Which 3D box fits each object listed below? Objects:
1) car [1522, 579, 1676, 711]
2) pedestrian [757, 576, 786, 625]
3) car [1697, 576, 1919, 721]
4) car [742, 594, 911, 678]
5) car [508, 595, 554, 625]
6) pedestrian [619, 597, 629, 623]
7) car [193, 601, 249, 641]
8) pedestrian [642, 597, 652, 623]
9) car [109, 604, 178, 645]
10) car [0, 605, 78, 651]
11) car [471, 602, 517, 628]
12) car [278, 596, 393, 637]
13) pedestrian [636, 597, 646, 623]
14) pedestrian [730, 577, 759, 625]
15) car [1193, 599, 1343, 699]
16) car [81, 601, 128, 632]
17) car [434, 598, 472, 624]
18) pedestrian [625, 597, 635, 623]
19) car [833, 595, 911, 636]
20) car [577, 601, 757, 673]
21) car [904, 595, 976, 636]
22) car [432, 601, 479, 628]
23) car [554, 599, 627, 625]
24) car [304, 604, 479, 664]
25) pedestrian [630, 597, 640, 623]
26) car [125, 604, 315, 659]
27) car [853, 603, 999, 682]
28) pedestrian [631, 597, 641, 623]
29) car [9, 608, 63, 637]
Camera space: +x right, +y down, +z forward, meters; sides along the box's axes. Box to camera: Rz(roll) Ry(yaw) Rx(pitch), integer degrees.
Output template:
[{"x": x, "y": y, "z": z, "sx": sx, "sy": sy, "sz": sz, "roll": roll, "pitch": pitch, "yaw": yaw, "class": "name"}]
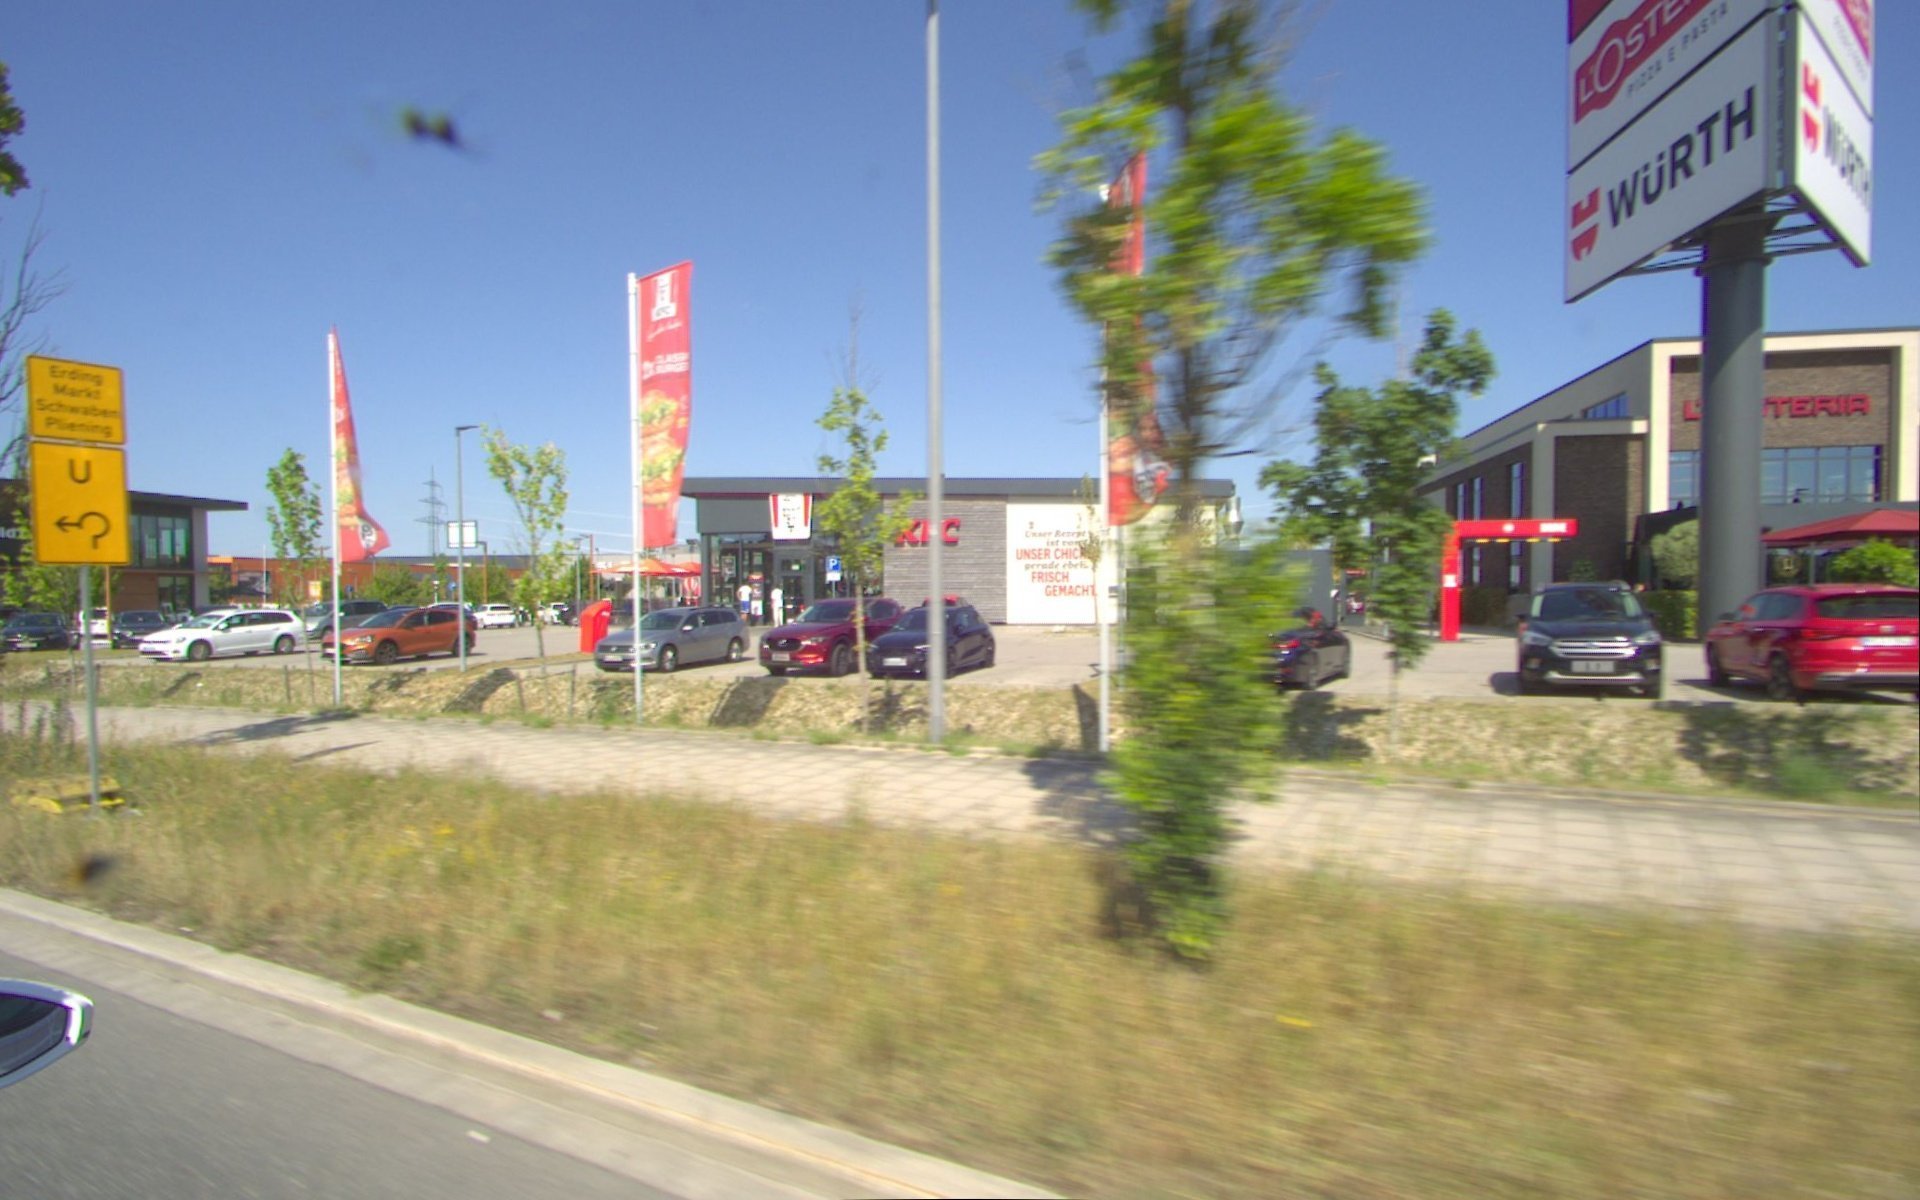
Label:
[{"x": 9.862, "y": 0.559, "z": 15.741, "sx": 1.764, "sy": 1.758, "sz": 4.399, "roll": 0, "pitch": 1, "yaw": 29, "class": "car"}, {"x": -8.015, "y": 0.032, "z": 42.694, "sx": 0.875, "sy": 2.040, "sz": 0.915, "roll": 0, "pitch": 1, "yaw": 15, "class": "pedestrian"}, {"x": 12.247, "y": 0.548, "z": 14.336, "sx": 1.761, "sy": 1.758, "sz": 4.406, "roll": 0, "pitch": 1, "yaw": 24, "class": "car"}, {"x": -2.925, "y": 0.731, "z": 22.846, "sx": 1.838, "sy": 1.688, "sz": 4.151, "roll": 0, "pitch": 1, "yaw": 26, "class": "car"}, {"x": -26.701, "y": 0.628, "z": 62.234, "sx": 1.768, "sy": 1.781, "sz": 4.140, "roll": -1, "pitch": 1, "yaw": -35, "class": "car"}, {"x": -16.352, "y": 0.491, "z": 48.766, "sx": 0.287, "sy": 1.257, "sz": 0.380, "roll": -1, "pitch": 1, "yaw": 10, "class": "pedestrian"}, {"x": -31.290, "y": 0.854, "z": 42.464, "sx": 1.768, "sy": 1.600, "sz": 4.140, "roll": -1, "pitch": 1, "yaw": -35, "class": "car"}, {"x": -15.461, "y": 0.490, "z": 49.422, "sx": 0.287, "sy": 1.257, "sz": 0.380, "roll": -1, "pitch": 1, "yaw": 10, "class": "pedestrian"}, {"x": -31.715, "y": 0.913, "z": 38.986, "sx": 1.768, "sy": 1.481, "sz": 4.140, "roll": -1, "pitch": 0, "yaw": -35, "class": "car"}, {"x": -32.529, "y": 0.948, "z": 35.285, "sx": 1.681, "sy": 1.481, "sz": 4.140, "roll": -1, "pitch": 0, "yaw": -35, "class": "car"}, {"x": -27.737, "y": 0.883, "z": 59.592, "sx": 1.768, "sy": 1.470, "sz": 4.140, "roll": -1, "pitch": 0, "yaw": -35, "class": "car"}, {"x": -26.454, "y": 0.656, "z": 42.584, "sx": 1.757, "sy": 1.657, "sz": 4.166, "roll": -1, "pitch": 0, "yaw": 11, "class": "car"}, {"x": -15.769, "y": 0.493, "z": 49.472, "sx": 0.287, "sy": 1.257, "sz": 0.380, "roll": -1, "pitch": 1, "yaw": 10, "class": "pedestrian"}, {"x": -9.242, "y": 0.043, "z": 42.888, "sx": 0.875, "sy": 2.040, "sz": 0.915, "roll": 0, "pitch": 1, "yaw": 15, "class": "pedestrian"}, {"x": 5.610, "y": 0.751, "z": 17.870, "sx": 1.763, "sy": 1.469, "sz": 4.400, "roll": 0, "pitch": 1, "yaw": 28, "class": "car"}, {"x": -49.895, "y": 0.940, "z": 58.477, "sx": 1.776, "sy": 1.724, "sz": 3.970, "roll": -1, "pitch": 1, "yaw": -37, "class": "car"}, {"x": -35.072, "y": 0.743, "z": 69.192, "sx": 1.768, "sy": 1.781, "sz": 4.140, "roll": -1, "pitch": 1, "yaw": -35, "class": "car"}, {"x": -16.055, "y": 0.489, "z": 48.726, "sx": 0.287, "sy": 1.257, "sz": 0.380, "roll": -1, "pitch": 1, "yaw": 10, "class": "pedestrian"}, {"x": -3.357, "y": 0.568, "z": 39.276, "sx": 1.833, "sy": 1.451, "sz": 4.565, "roll": 0, "pitch": 1, "yaw": 11, "class": "car"}, {"x": -7.103, "y": 0.832, "z": 24.808, "sx": 1.837, "sy": 1.510, "sz": 4.556, "roll": 0, "pitch": 1, "yaw": 22, "class": "car"}, {"x": -0.683, "y": 0.554, "z": 38.537, "sx": 1.833, "sy": 1.451, "sz": 4.565, "roll": 0, "pitch": 1, "yaw": 11, "class": "car"}, {"x": -28.425, "y": 0.799, "z": 56.329, "sx": 1.768, "sy": 1.470, "sz": 4.140, "roll": -1, "pitch": 0, "yaw": -35, "class": "car"}, {"x": -23.540, "y": 0.736, "z": 63.880, "sx": 4.110, "sy": 1.543, "sz": 1.781, "roll": -1, "pitch": 1, "yaw": -31, "class": "car"}, {"x": -16.094, "y": 0.901, "z": 28.613, "sx": 1.835, "sy": 1.510, "sz": 4.209, "roll": 0, "pitch": 1, "yaw": 19, "class": "car"}, {"x": -16.056, "y": 0.495, "z": 49.525, "sx": 0.287, "sy": 1.257, "sz": 0.380, "roll": -1, "pitch": 1, "yaw": 10, "class": "pedestrian"}, {"x": -22.982, "y": 0.927, "z": 31.329, "sx": 1.835, "sy": 1.510, "sz": 4.531, "roll": 0, "pitch": 1, "yaw": 19, "class": "car"}, {"x": -0.627, "y": 0.835, "z": 21.909, "sx": 1.760, "sy": 1.469, "sz": 4.157, "roll": 0, "pitch": 1, "yaw": 20, "class": "car"}, {"x": -15.746, "y": 0.486, "z": 48.674, "sx": 0.287, "sy": 1.257, "sz": 0.380, "roll": -1, "pitch": 1, "yaw": 10, "class": "pedestrian"}, {"x": -50.797, "y": 1.198, "z": 55.118, "sx": 1.777, "sy": 1.533, "sz": 3.969, "roll": -1, "pitch": 1, "yaw": -38, "class": "car"}]
